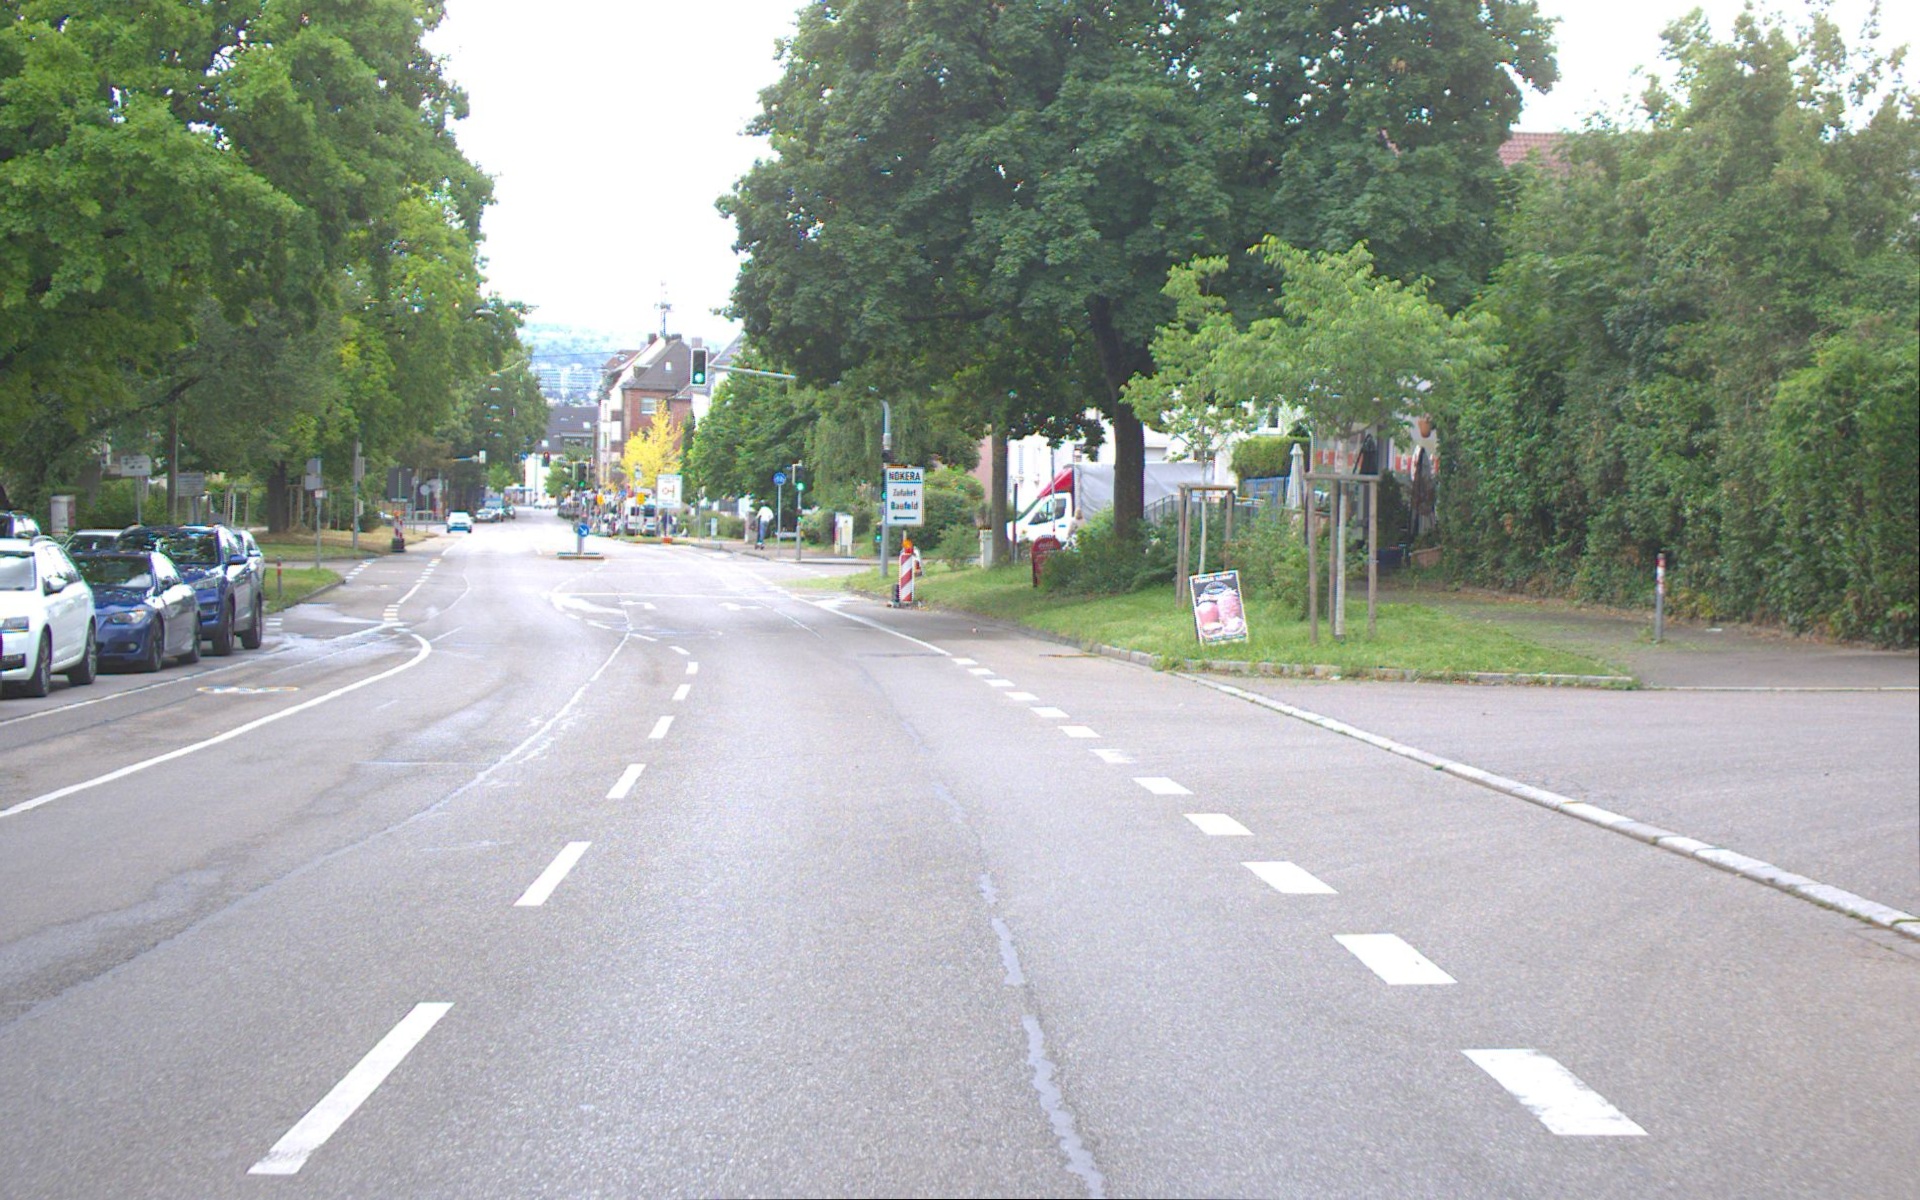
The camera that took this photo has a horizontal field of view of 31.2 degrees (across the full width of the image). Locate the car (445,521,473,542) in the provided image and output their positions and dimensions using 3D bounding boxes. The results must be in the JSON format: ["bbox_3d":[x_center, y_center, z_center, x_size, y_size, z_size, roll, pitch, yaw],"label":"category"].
[{"bbox_3d":[-36.405,-4.979,249.876,1.993,1.500,4.001,1,1,-8],"label":"car"}]

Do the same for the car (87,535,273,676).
[{"bbox_3d":[-10.085,0.030,44.717,1.715,1.607,4.536,1,2,-5],"label":"car"}]

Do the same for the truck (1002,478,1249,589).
[{"bbox_3d":[5.126,-2.074,106.939,7.225,3.295,2.541,1,1,-9],"label":"truck"}]

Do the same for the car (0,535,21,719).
[{"bbox_3d":[-8.902,0.234,27.836,1.715,1.567,4.372,1,1,-5],"label":"car"}]

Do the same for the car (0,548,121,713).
[{"bbox_3d":[-9.355,0.236,33.134,1.715,1.454,4.758,1,1,-5],"label":"car"}]

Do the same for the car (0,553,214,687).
[{"bbox_3d":[-9.630,0.184,39.004,1.715,1.384,4.339,1,1,-5],"label":"car"}]

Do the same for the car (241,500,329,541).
[{"bbox_3d":[-27.778,-3.274,141.594,3.448,1.590,2.001,1,1,-8],"label":"car"}]

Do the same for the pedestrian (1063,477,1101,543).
[{"bbox_3d":[3.497,-2.574,98.541,0.747,1.848,0.955,-2,2,-21],"label":"pedestrian"}]

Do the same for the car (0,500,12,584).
[{"bbox_3d":[-19.468,-1.132,66.004,1.761,1.627,4.289,1,1,-6],"label":"car"}]

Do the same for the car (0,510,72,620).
[{"bbox_3d":[-15.439,-0.607,54.627,1.761,1.627,4.001,4,1,-4],"label":"car"}]
